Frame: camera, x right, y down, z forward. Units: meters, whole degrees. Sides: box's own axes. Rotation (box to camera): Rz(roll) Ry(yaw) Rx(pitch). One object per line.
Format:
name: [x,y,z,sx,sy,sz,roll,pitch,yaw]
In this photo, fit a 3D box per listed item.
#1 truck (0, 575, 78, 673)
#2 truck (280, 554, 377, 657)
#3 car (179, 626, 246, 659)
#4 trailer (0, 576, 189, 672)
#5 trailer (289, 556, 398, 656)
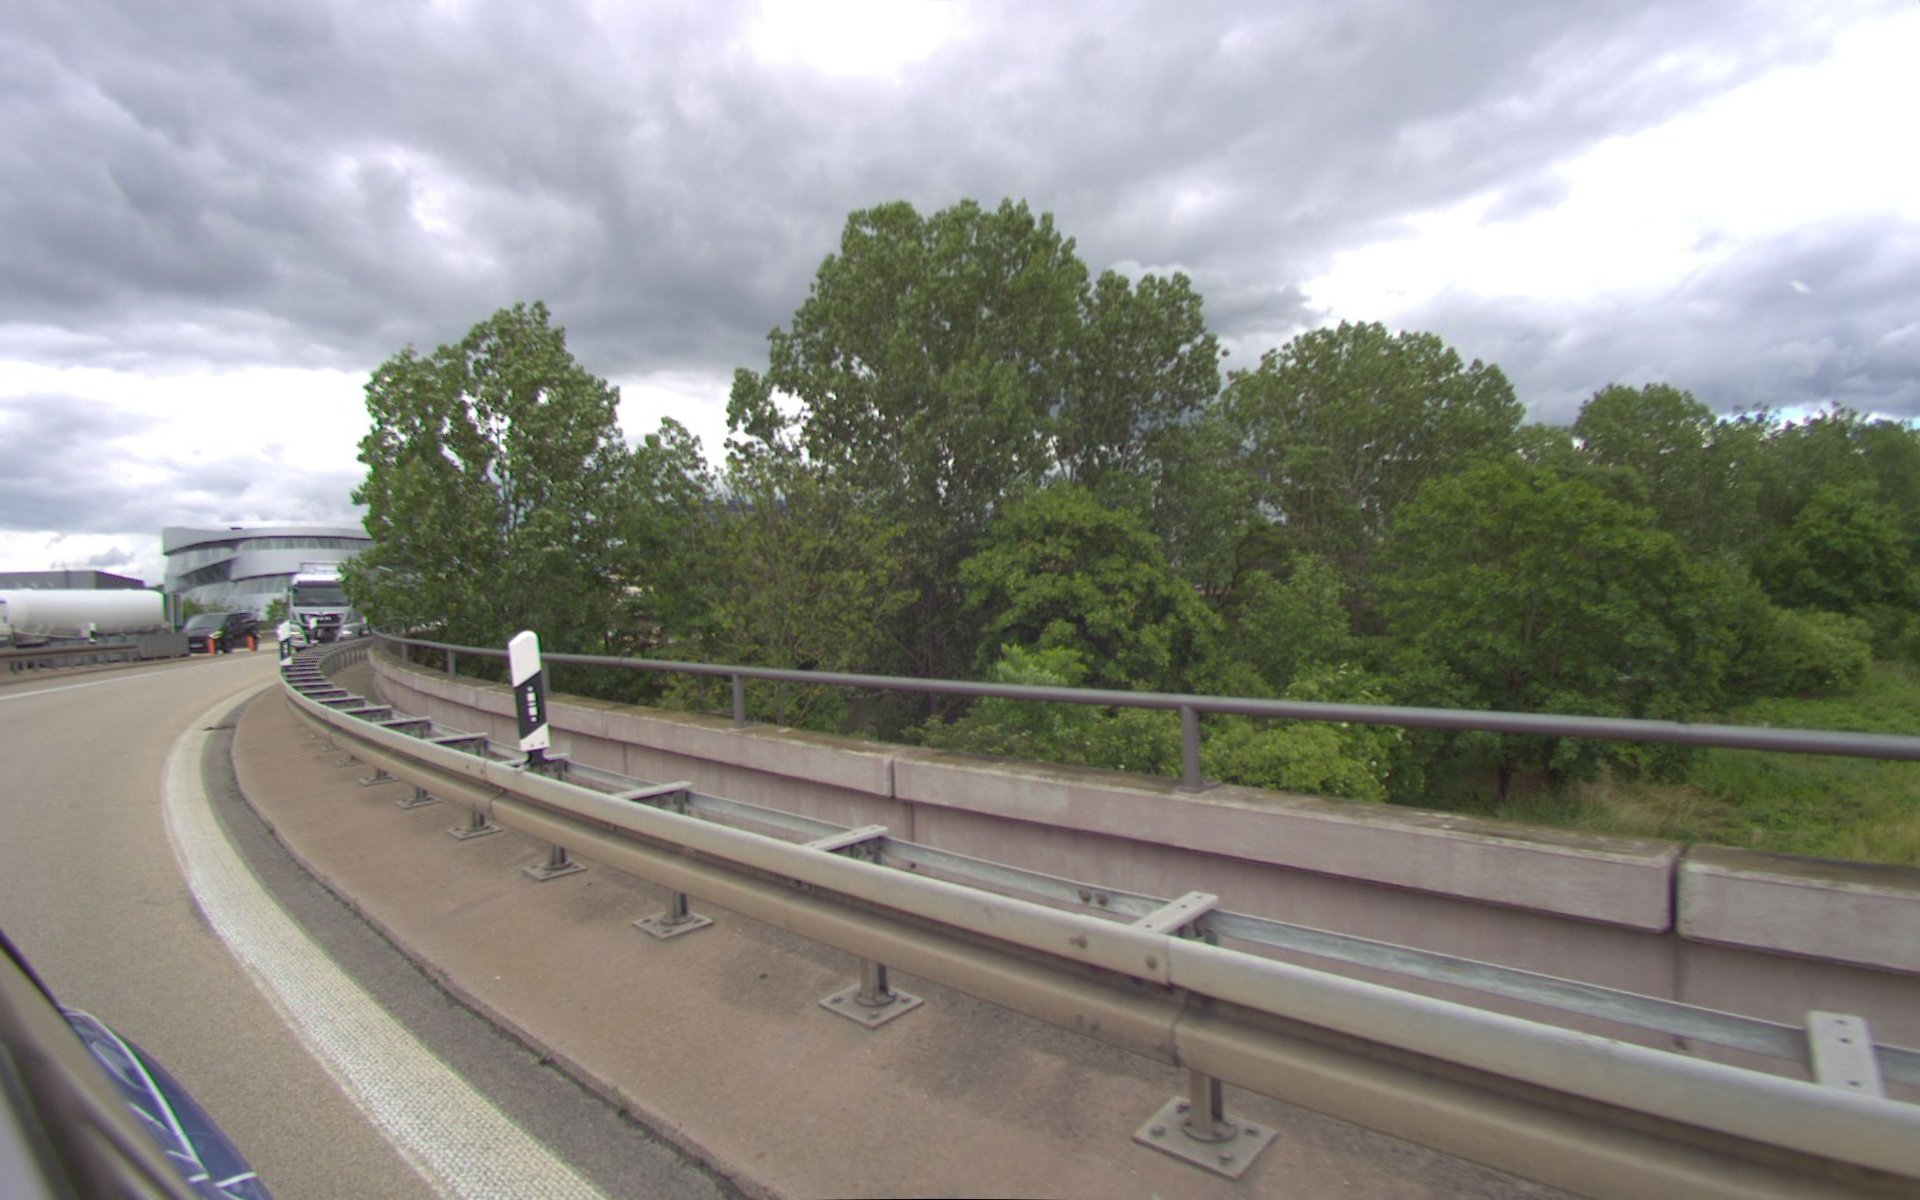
truck: [-37.409,0.939,38.728,2.692,3.673,6.215,-1,0,-11]
truck: [-28.252,0.232,45.530,2.689,4.260,6.221,-1,0,-23]
car: [-35.886,2.007,48.663,1.759,1.420,3.814,-1,0,-24]
trailer: [-38.466,0.956,44.392,2.704,3.677,11.030,-1,0,-11]
trailer: [-30.318,0.302,50.390,2.701,4.269,13.492,-1,0,-23]
